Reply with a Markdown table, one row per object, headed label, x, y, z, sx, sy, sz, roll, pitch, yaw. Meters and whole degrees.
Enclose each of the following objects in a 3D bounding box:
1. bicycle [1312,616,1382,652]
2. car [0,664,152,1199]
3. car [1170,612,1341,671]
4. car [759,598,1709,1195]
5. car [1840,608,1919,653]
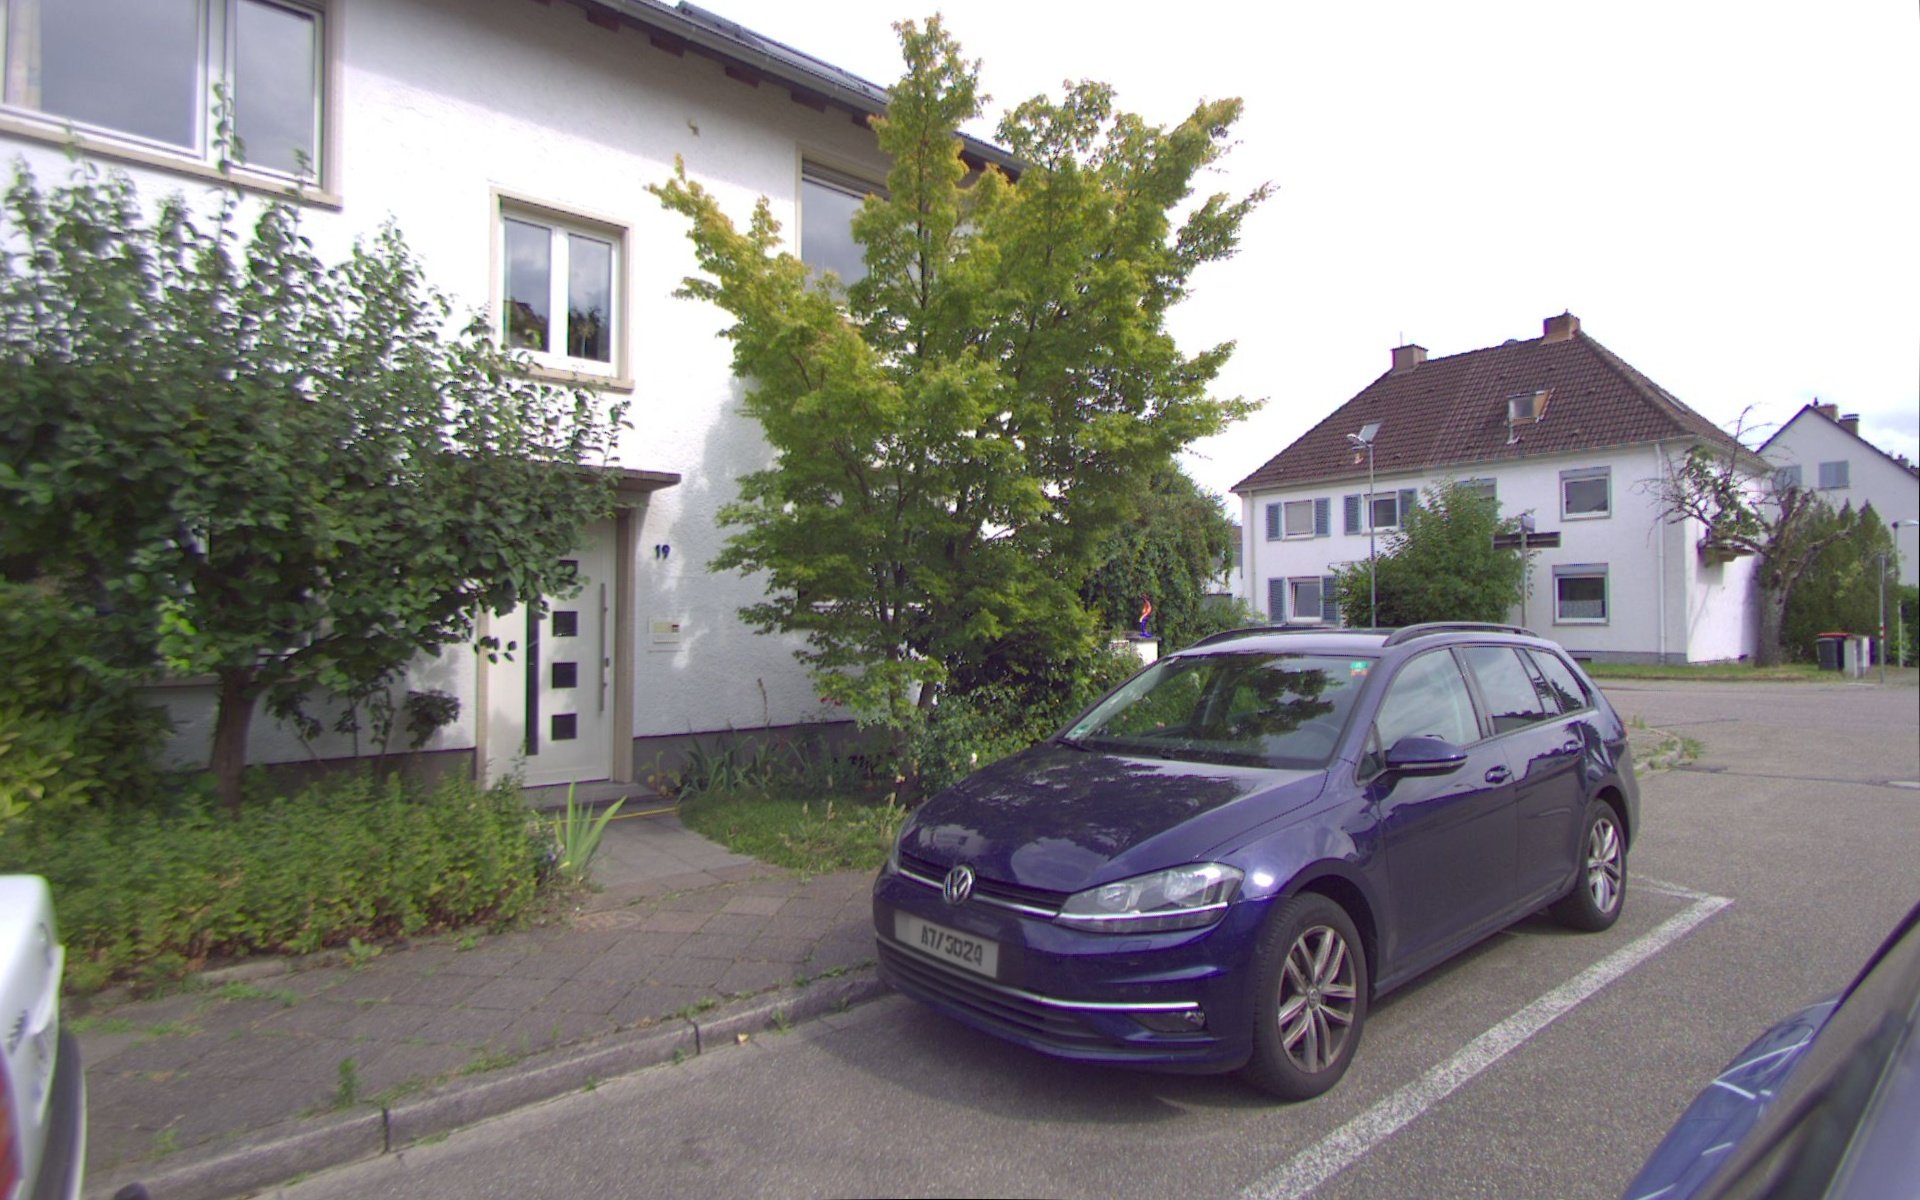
| label | x | y | z | sx | sy | sz | roll | pitch | yaw |
| --- | --- | --- | --- | --- | --- | --- | --- | --- | --- |
| bicycle | 12.765 | 1.121 | 33.444 | 0.562 | 1.149 | 2.168 | 1 | -1 | -39 |
| car | -3.331 | 0.828 | 0.432 | 4.615 | 1.382 | 1.696 | 1 | -1 | -41 |
| car | 8.565 | 1.157 | 29.659 | 1.963 | 1.590 | 4.542 | 1 | -1 | -38 |
| car | 1.641 | 0.754 | 4.734 | 4.763 | 1.458 | 1.871 | 1 | -1 | -39 |
| car | 37.017 | 1.161 | 39.299 | 1.963 | 1.728 | 3.996 | 1 | -1 | -38 |
